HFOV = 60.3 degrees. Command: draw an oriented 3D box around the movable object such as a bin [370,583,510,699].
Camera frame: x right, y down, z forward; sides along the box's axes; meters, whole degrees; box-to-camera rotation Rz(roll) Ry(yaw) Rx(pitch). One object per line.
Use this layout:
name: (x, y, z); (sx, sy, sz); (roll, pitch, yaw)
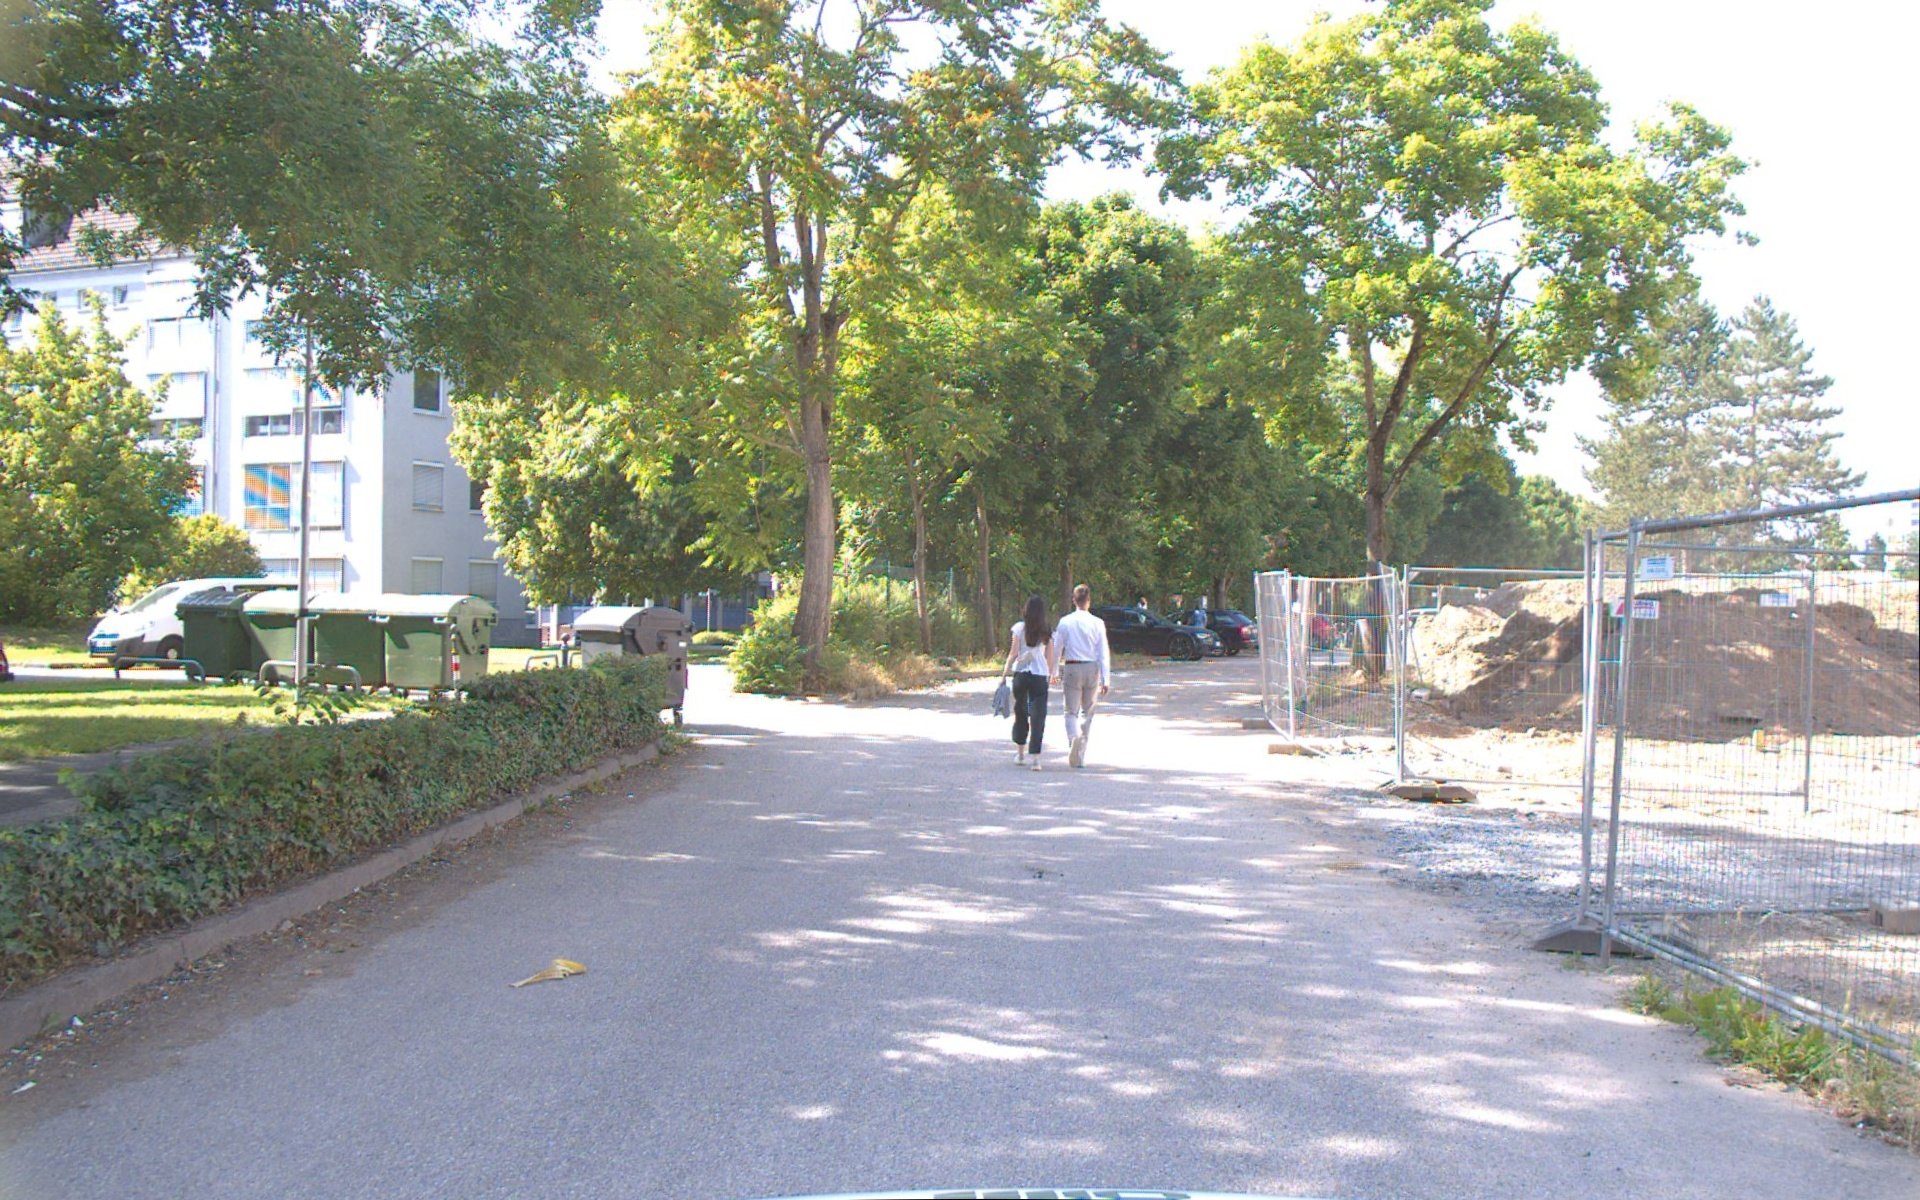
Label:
movable object such as a bin: (-6.979, 0.531, 22.243); (1.307, 1.507, 1.248); (0, 0, 22)

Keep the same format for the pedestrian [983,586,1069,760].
pedestrian: (0.640, 0.702, 16.307); (0.721, 1.668, 0.780); (0, 1, -7)

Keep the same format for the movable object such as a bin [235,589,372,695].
movable object such as a bin: (-9.359, 0.580, 23.591); (1.335, 1.456, 1.247); (0, 0, 27)

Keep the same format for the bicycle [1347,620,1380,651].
bicycle: (17.561, 1.527, 71.993); (0.800, 1.307, 2.681); (1, 0, 26)

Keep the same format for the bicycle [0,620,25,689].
bicycle: (-15.125, 0.823, 25.590); (1.507, 1.010, 0.445); (1, 1, 30)

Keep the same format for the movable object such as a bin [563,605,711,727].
movable object such as a bin: (-3.963, 0.778, 20.269); (1.239, 1.421, 1.381); (1, 0, -45)

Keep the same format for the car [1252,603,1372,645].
car: (13.535, 0.896, 63.622); (4.201, 1.551, 1.891); (1, 0, 25)

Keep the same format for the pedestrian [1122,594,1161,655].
pedestrian: (5.427, 0.728, 49.427); (0.992, 1.812, 0.820); (1, 0, 19)

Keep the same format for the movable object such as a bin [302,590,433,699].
movable object such as a bin: (-8.187, 0.600, 22.903); (1.194, 1.456, 1.249); (0, 0, 16)

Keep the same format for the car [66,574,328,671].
car: (-16.500, 0.473, 36.058); (1.955, 1.967, 5.032); (0, 0, 28)

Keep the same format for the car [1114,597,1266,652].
car: (7.438, 0.764, 53.325); (4.558, 1.612, 2.001); (1, 1, 18)

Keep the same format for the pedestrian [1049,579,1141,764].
pedestrian: (1.315, 0.681, 16.274); (0.740, 1.758, 0.853); (0, 1, -7)

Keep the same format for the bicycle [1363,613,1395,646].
bicycle: (16.952, 1.174, 66.830); (0.700, 1.307, 2.681); (1, 0, 26)

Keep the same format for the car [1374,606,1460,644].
car: (23.172, 1.255, 83.833); (3.912, 1.803, 1.764); (1, 0, 30)

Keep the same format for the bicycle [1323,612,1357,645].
bicycle: (15.575, 1.141, 67.714); (0.700, 1.307, 2.788); (1, 0, 26)

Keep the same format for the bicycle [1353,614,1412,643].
bicycle: (19.801, 1.331, 77.513); (2.620, 1.307, 0.819); (1, 0, 21)

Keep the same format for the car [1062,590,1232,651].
car: (5.424, 0.559, 47.759); (4.558, 1.612, 2.001); (1, 1, 18)

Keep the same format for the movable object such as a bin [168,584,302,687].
movable object such as a bin: (-10.649, 0.503, 24.314); (1.319, 1.456, 1.247); (0, 0, 27)
